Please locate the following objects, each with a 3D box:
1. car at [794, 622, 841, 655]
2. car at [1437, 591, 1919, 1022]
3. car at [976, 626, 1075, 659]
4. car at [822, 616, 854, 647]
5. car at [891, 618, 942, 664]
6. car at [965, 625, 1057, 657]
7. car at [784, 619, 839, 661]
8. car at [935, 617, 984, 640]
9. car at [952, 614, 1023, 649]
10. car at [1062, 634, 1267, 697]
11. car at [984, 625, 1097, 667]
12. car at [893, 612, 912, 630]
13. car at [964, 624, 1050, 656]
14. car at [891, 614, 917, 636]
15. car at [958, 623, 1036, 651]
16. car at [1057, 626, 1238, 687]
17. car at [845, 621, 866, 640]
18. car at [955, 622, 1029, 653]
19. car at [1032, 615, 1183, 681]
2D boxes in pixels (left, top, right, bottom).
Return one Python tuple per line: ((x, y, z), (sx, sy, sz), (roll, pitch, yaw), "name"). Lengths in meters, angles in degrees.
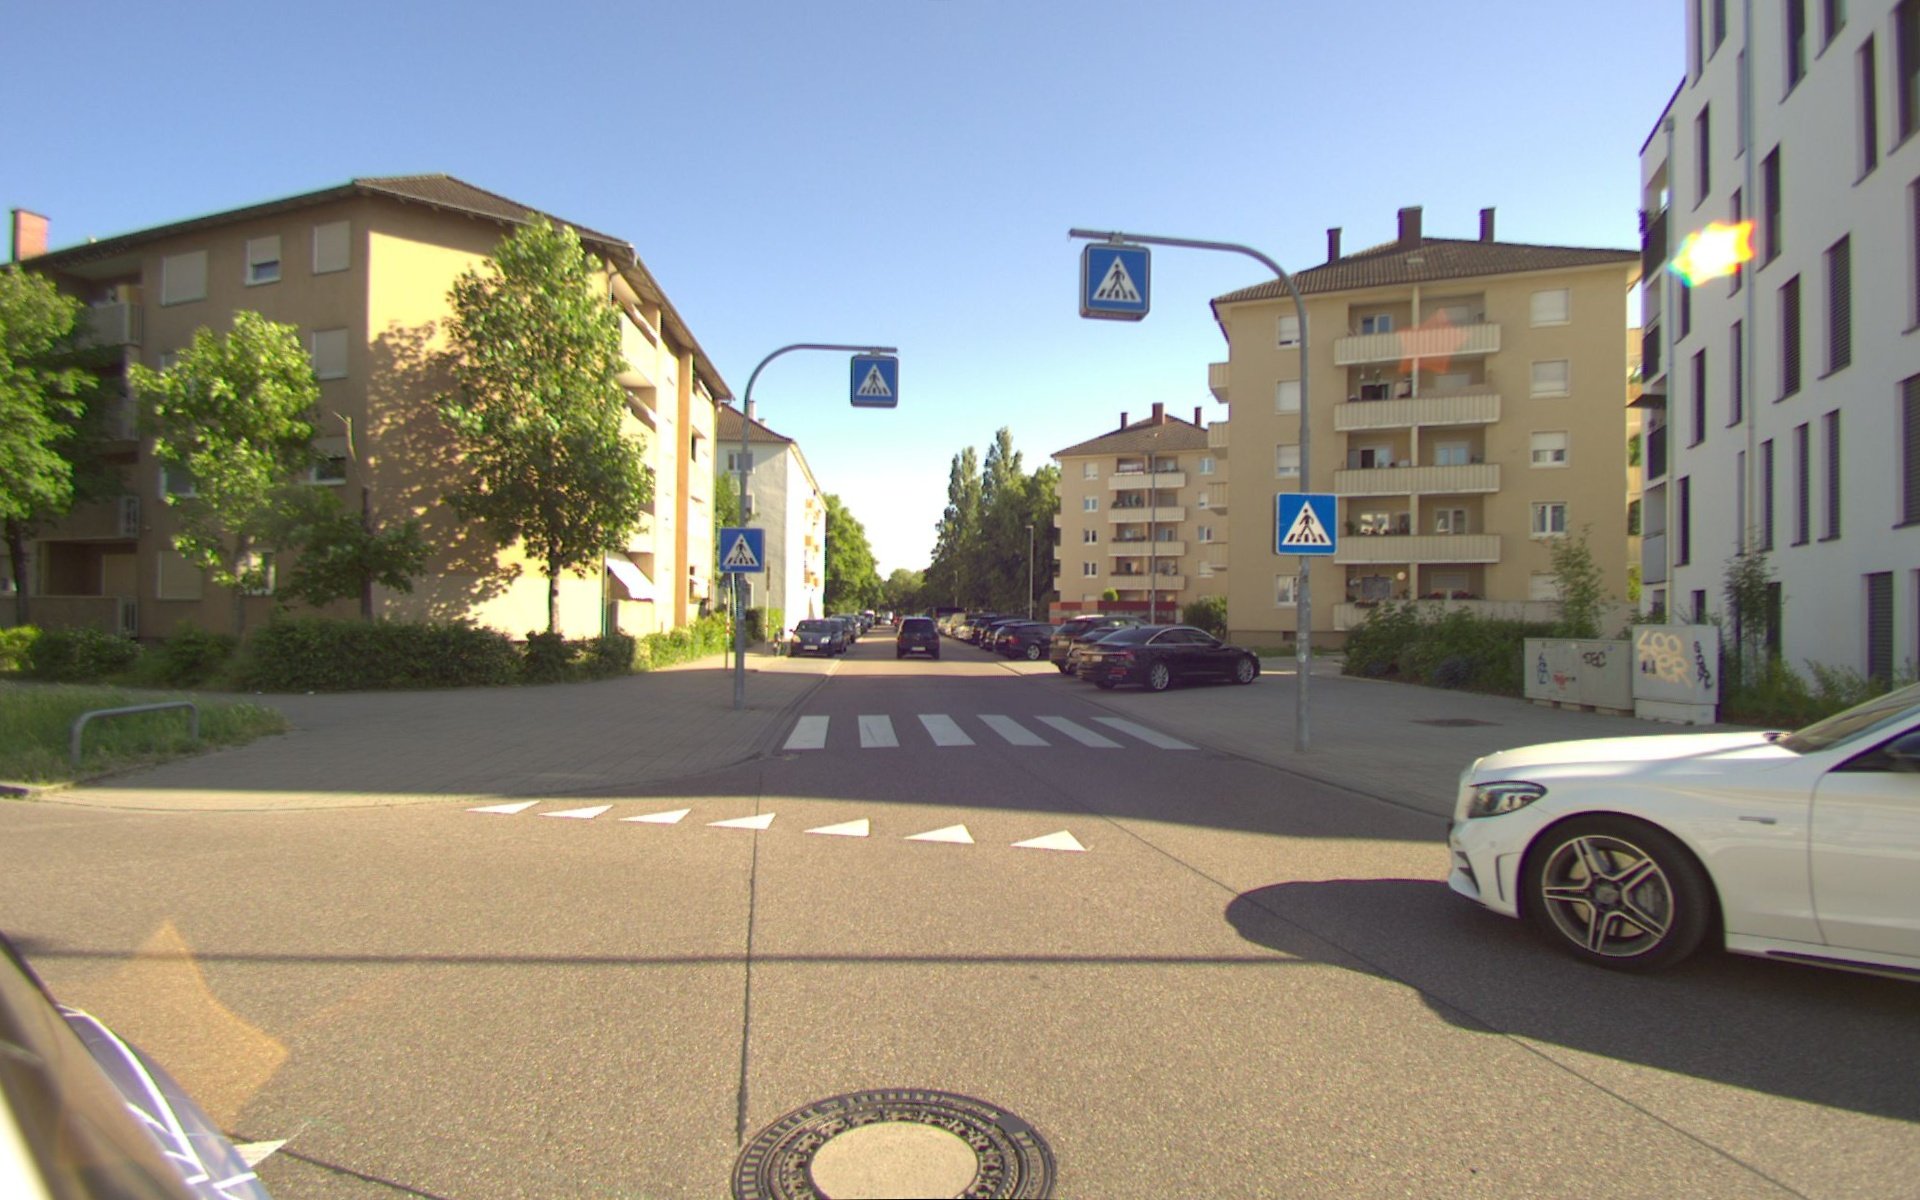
((-6.333, 1.668, 44.920), (1.968, 1.253, 4.008), (0, 1, -8), "car")
((4.555, 0.804, 3.912), (4.630, 1.516, 1.868), (1, -4, 37), "car")
((2.914, 1.866, 45.093), (3.930, 1.320, 2.007), (0, 1, -25), "car")
((-7.400, 1.881, 61.245), (1.817, 1.770, 4.006), (2, -1, -7), "car")
((-1.768, 1.570, 39.848), (1.716, 1.541, 4.120), (0, 1, -6), "car")
((2.437, 1.937, 48.523), (3.930, 1.320, 2.007), (0, 1, -25), "car")
((-5.847, 1.528, 39.612), (1.878, 1.526, 4.009), (1, -2, -11), "car")
((-0.065, 2.443, 88.168), (3.934, 1.851, 2.005), (0, 1, -12), "car")
((1.694, 1.925, 62.635), (3.930, 2.029, 2.007), (0, 1, -23), "car")
((4.740, 1.445, 23.282), (4.487, 1.176, 2.005), (-1, -1, -33), "car")
((3.114, 1.732, 39.130), (3.931, 1.412, 2.006), (0, 1, -28), "car")
((-6.294, 2.295, 110.674), (1.970, 1.851, 4.004), (0, 1, -4), "car")
((2.407, 2.010, 51.716), (3.932, 1.264, 2.006), (-3, 2, -30), "car")
((-5.049, 2.232, 91.511), (1.973, 1.851, 3.998), (0, 1, 2), "car")
((2.092, 2.069, 57.303), (3.930, 1.408, 2.007), (0, 1, -25), "car")
((4.888, 1.423, 26.236), (4.487, 1.442, 2.005), (1, -2, -33), "car")
((-10.031, 2.894, 97.348), (1.969, 1.707, 4.006), (0, 0, -6), "car")
((1.856, 2.197, 60.040), (3.931, 1.652, 2.006), (0, 1, -18), "car")
((4.240, 1.318, 28.897), (3.934, 1.664, 2.005), (-1, -1, -36), "car")
